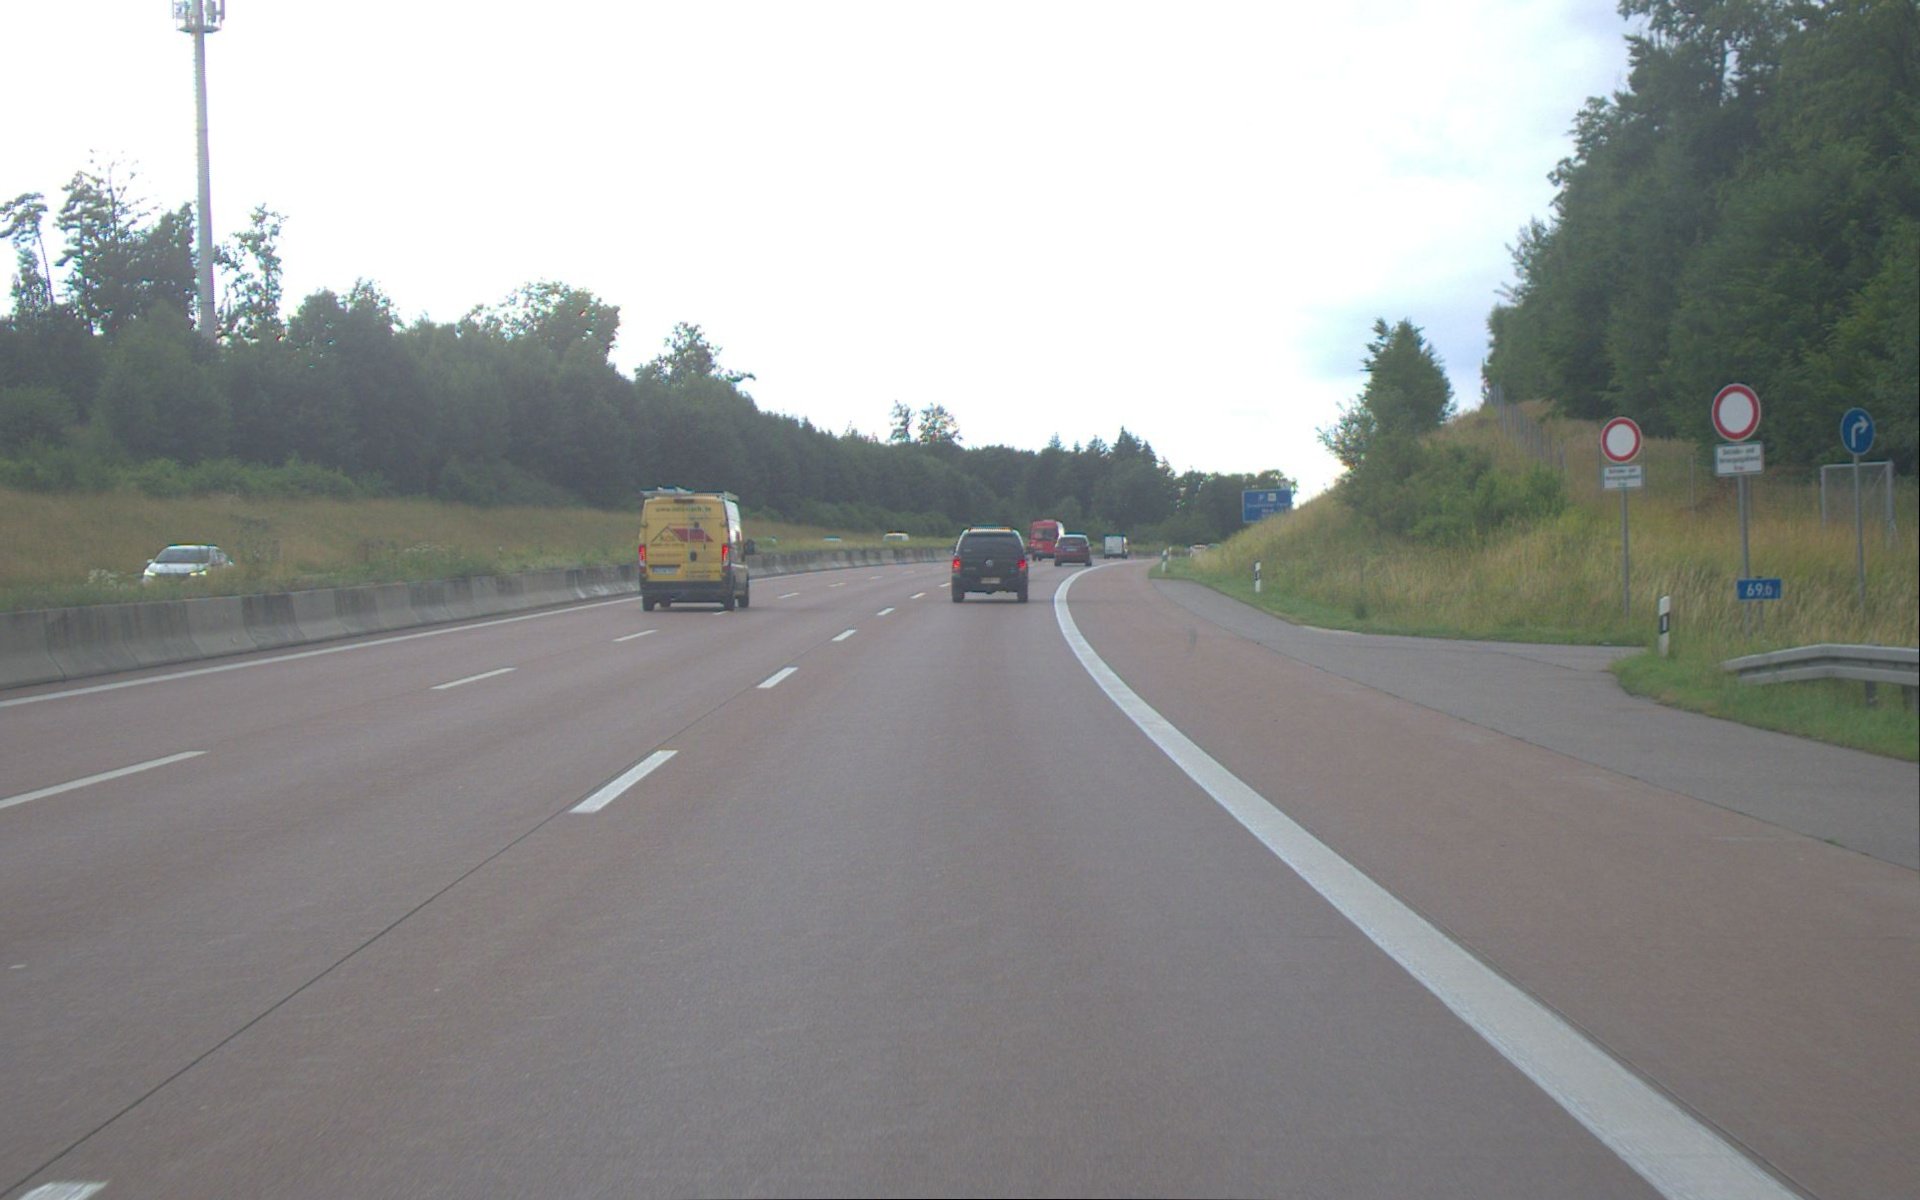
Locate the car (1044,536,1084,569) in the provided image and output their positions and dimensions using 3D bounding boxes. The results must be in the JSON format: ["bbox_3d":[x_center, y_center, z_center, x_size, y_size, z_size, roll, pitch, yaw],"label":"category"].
[{"bbox_3d":[5.490,-2.490,181.188,1.977,1.642,4.619,-1,0,0],"label":"car"}]

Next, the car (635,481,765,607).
[{"bbox_3d":[-5.834,-1.215,77.916,2.458,2.697,5.613,-1,0,0],"label":"car"}]

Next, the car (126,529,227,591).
[{"bbox_3d":[-20.721,-1.031,91.079,1.670,1.520,4.826,1,-1,-1],"label":"car"}]

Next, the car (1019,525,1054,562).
[{"bbox_3d":[5.159,-3.770,230.194,2.241,2.422,6.204,0,1,2],"label":"car"}]

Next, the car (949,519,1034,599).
[{"bbox_3d":[0.783,-1.006,86.533,2.044,1.890,5.577,-1,0,0],"label":"car"}]
